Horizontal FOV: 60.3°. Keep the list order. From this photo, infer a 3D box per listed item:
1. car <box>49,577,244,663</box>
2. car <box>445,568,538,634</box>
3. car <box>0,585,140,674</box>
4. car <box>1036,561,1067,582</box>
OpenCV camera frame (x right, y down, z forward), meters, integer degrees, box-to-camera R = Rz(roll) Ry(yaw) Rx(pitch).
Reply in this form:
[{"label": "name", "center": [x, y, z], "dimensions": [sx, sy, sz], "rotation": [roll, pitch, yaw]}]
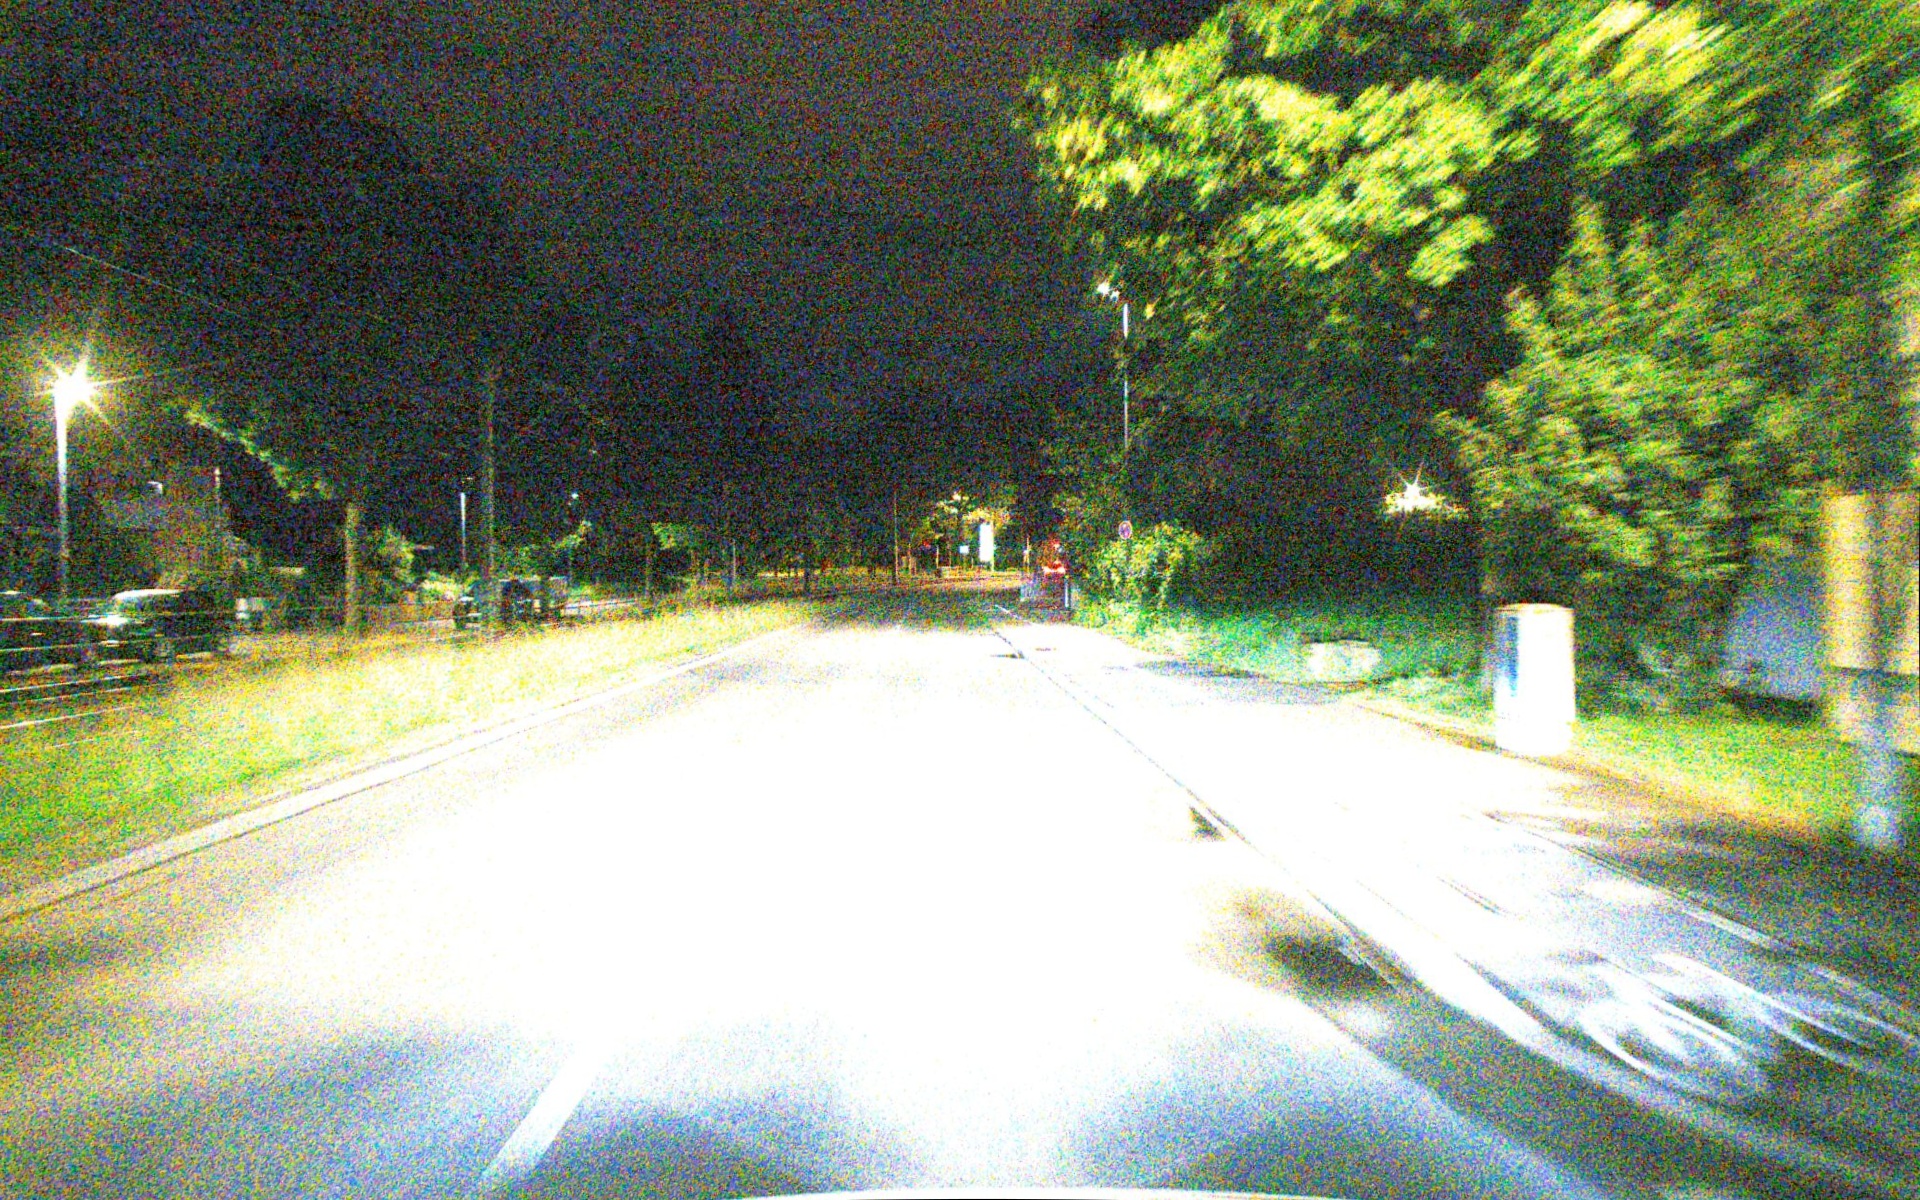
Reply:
[{"label": "car", "center": [-15.898, 0.342, 32.573], "dimensions": [1.953, 1.556, 3.999], "rotation": [-1, 1, -2]}, {"label": "car", "center": [-16.182, 0.009, 57.338], "dimensions": [2.050, 2.048, 3.999], "rotation": [-5, 1, -2]}, {"label": "car", "center": [-15.633, 0.450, 26.964], "dimensions": [1.953, 1.361, 5.430], "rotation": [-1, 0, -2]}, {"label": "car", "center": [7.701, -2.389, 139.183], "dimensions": [2.115, 1.610, 4.017], "rotation": [-3, 1, 9]}]
